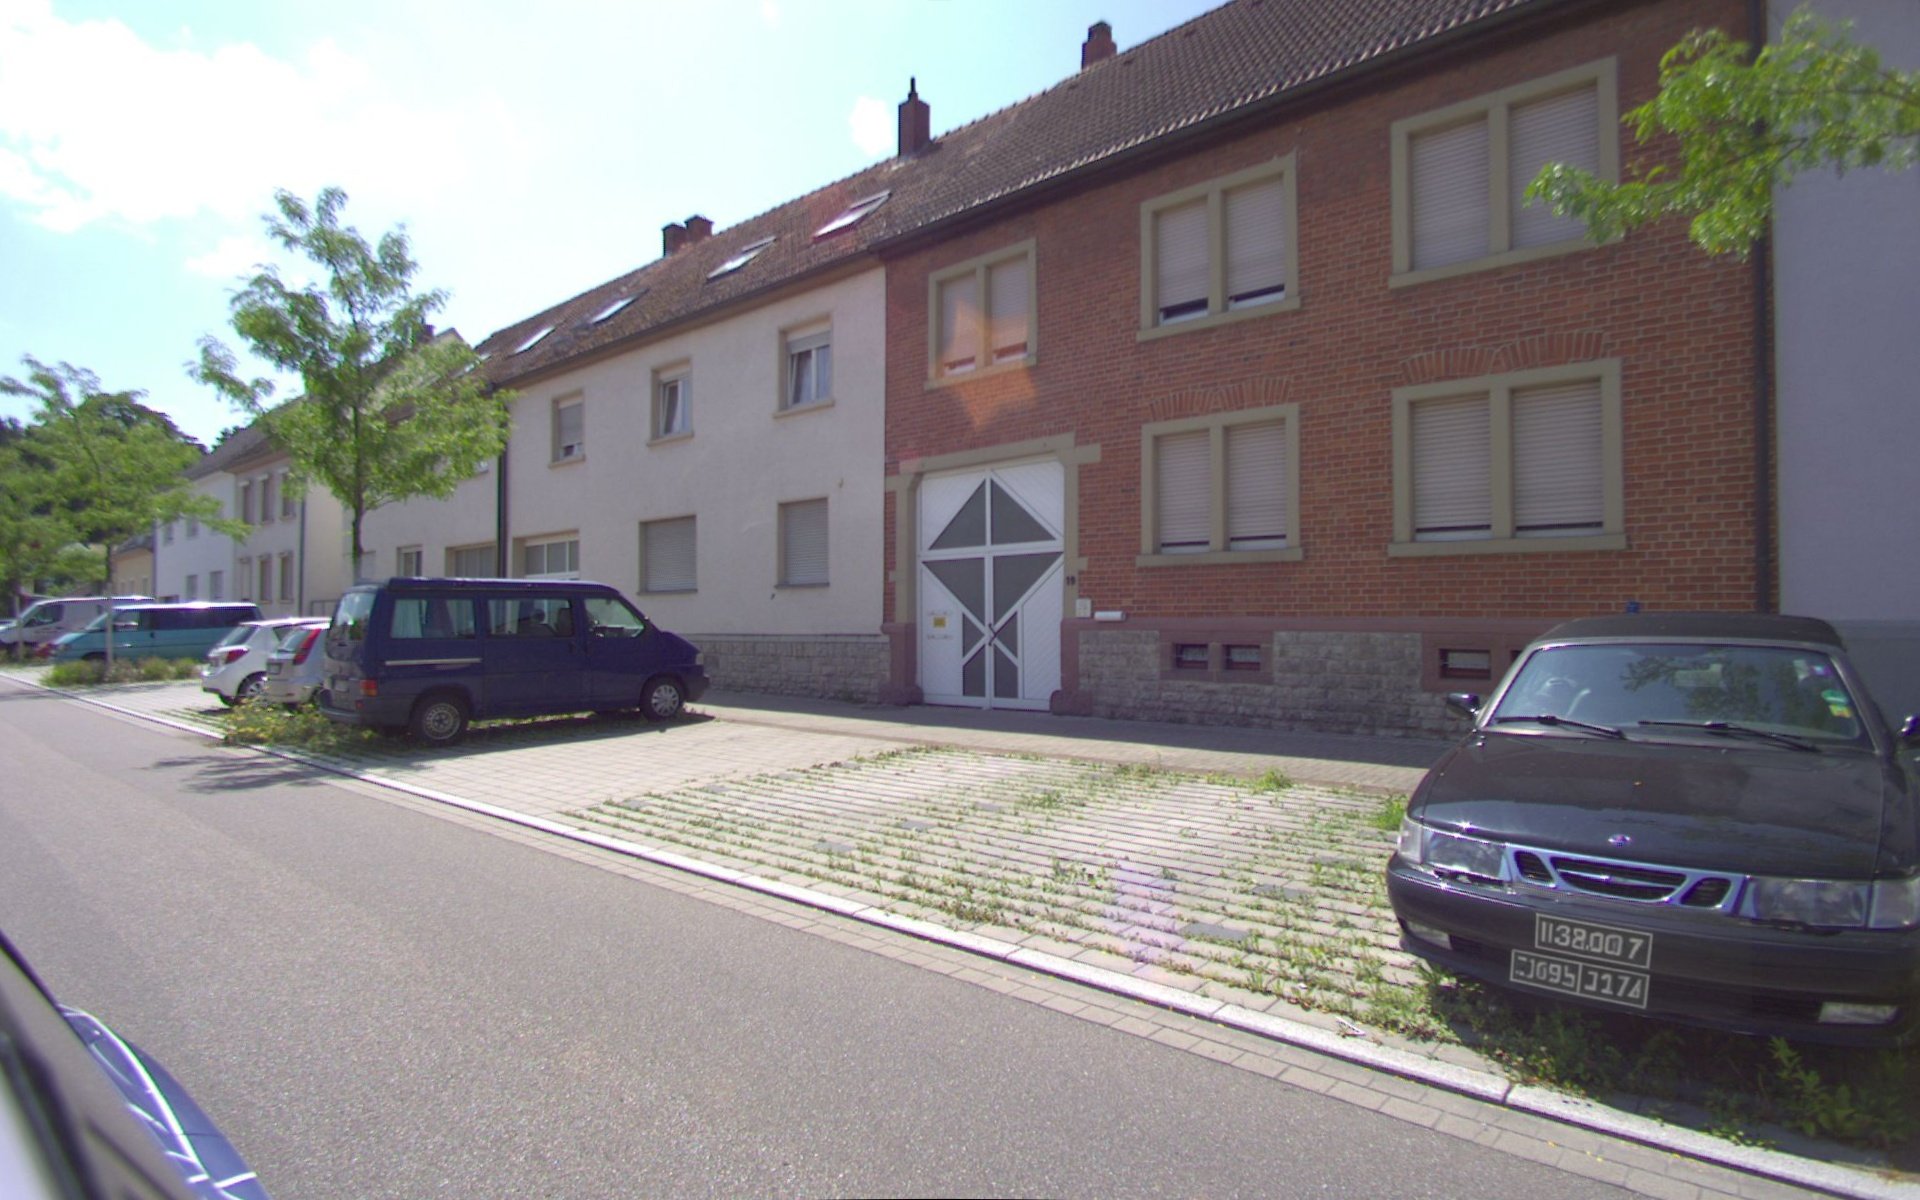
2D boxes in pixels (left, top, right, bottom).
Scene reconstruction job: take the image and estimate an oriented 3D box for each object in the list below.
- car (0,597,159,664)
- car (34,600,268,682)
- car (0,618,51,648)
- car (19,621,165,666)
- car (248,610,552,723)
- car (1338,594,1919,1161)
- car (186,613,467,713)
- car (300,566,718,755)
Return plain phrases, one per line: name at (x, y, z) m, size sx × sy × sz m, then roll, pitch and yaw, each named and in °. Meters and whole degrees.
car at (-33.644, 1.093, 38.115) m, size 2.155 × 2.305 × 5.116 m, roll -1°, pitch 0°, yaw 39°
car at (-21.554, 1.006, 27.126) m, size 1.999 × 1.921 × 4.628 m, roll -1°, pitch 1°, yaw 41°
car at (-50.134, 1.732, 52.286) m, size 1.900 × 1.528 × 4.539 m, roll -1°, pitch 0°, yaw 41°
car at (-30.679, 1.499, 35.837) m, size 1.725 × 1.396 × 3.743 m, roll -1°, pitch 0°, yaw 41°
car at (-8.797, 0.957, 16.114) m, size 1.773 × 1.500 × 3.873 m, roll -1°, pitch 0°, yaw 43°
car at (3.481, 0.715, 4.686) m, size 1.795 × 1.436 × 4.477 m, roll -1°, pitch 0°, yaw 41°
car at (-11.061, 1.014, 17.853) m, size 1.773 × 1.500 × 3.873 m, roll -1°, pitch 0°, yaw 43°
car at (-5.646, 0.638, 13.141) m, size 1.953 × 2.011 × 4.563 m, roll -1°, pitch 0°, yaw 43°
